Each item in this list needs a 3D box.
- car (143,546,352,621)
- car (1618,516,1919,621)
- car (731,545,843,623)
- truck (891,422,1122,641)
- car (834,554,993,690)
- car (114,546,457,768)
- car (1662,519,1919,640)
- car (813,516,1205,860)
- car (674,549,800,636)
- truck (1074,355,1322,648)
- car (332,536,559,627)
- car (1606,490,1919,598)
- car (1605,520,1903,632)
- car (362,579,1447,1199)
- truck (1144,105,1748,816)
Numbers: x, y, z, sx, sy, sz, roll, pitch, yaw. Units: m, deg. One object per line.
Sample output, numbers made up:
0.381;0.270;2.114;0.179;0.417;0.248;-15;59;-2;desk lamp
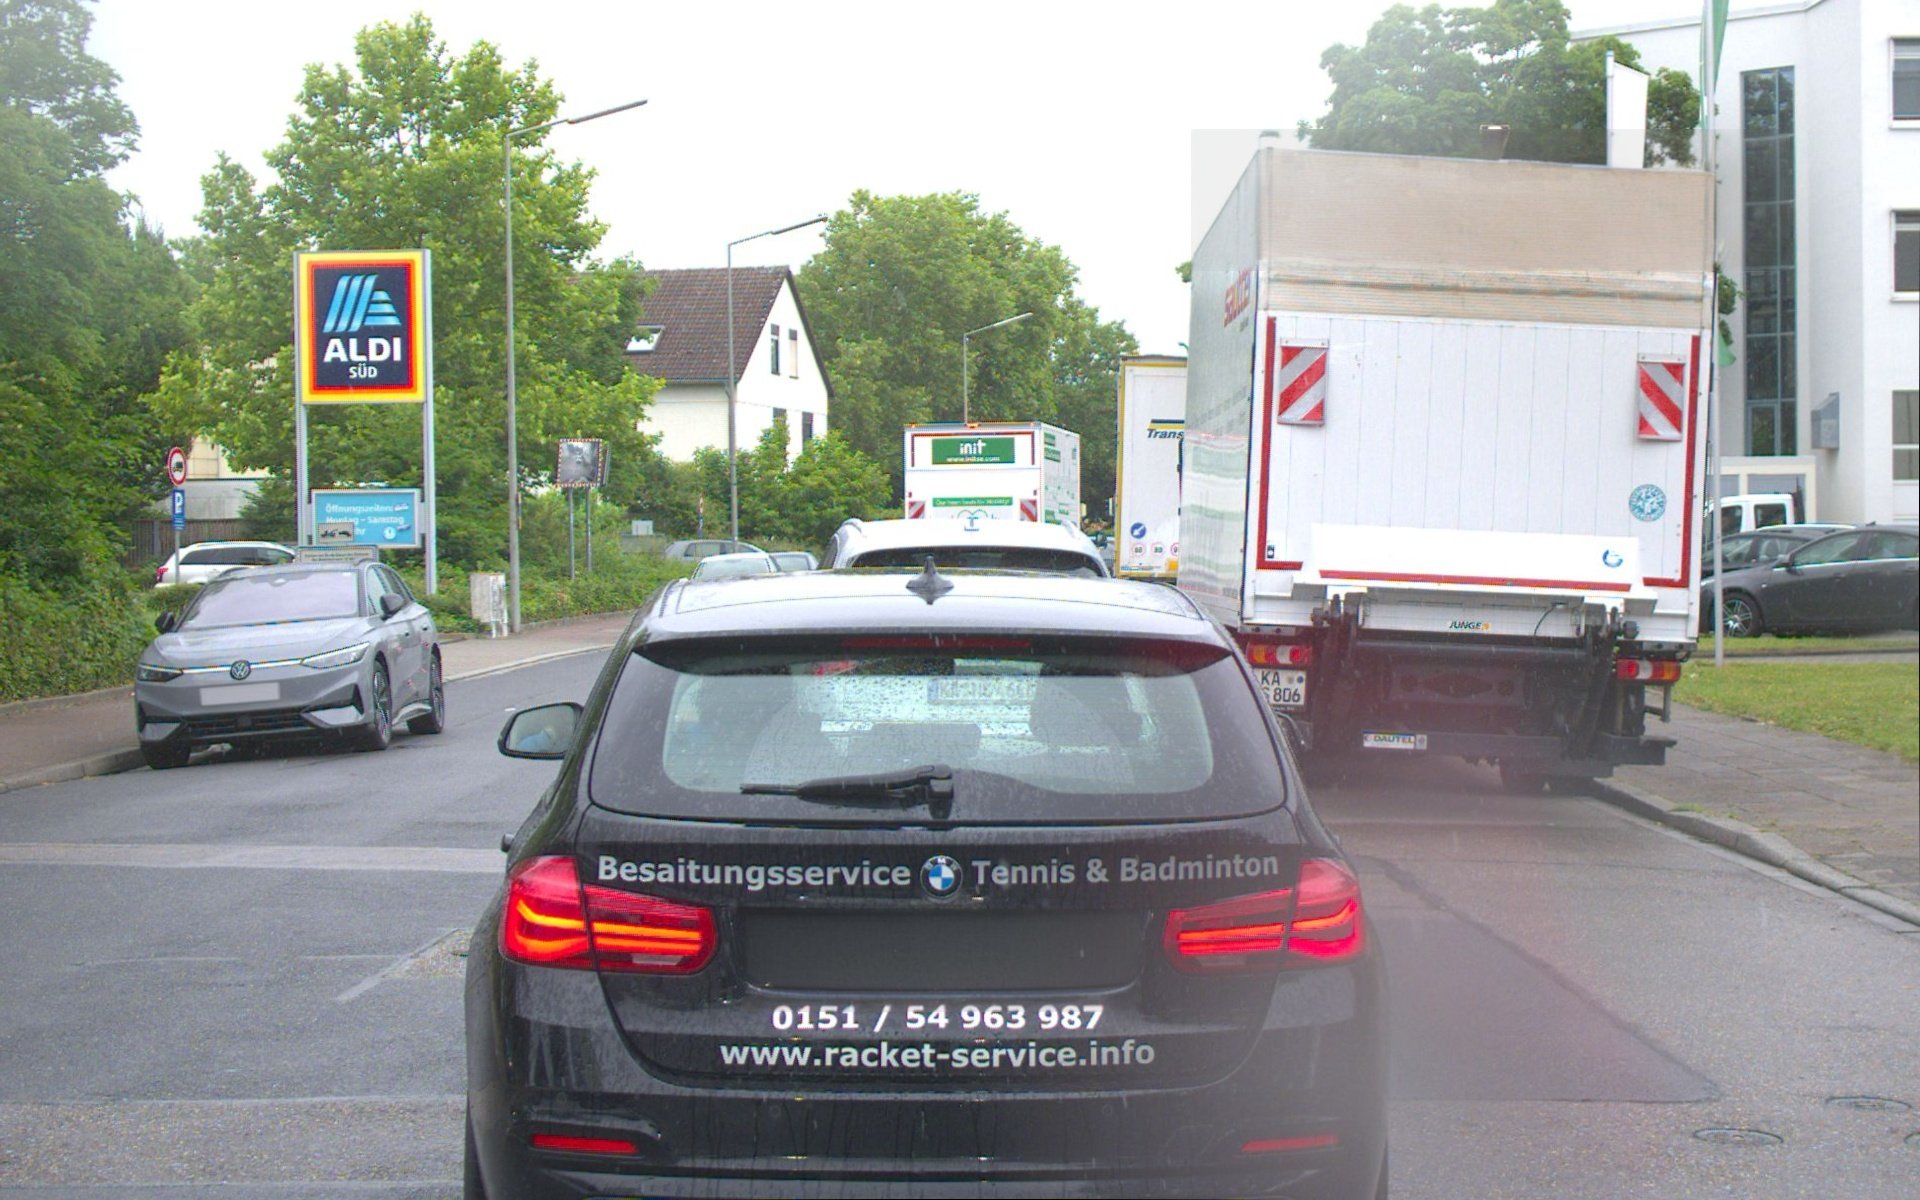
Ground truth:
-15.078;-0.358;72.889;3.987;1.535;1.911;0;1;1;car
12.221;-0.512;52.074;4.147;1.410;1.687;2;4;41;car
-3.351;-0.336;67.154;1.706;1.362;3.838;-3;1;4;car
0.880;-1.246;56.321;2.342;3.245;7.747;3;3;11;truck
-0.588;0.232;41.331;1.804;1.547;4.000;0;1;-2;car
-5.384;0.390;28.052;1.809;1.523;4.748;-4;1;-1;car
11.334;-0.271;43.044;4.671;1.463;1.787;0;1;38;car
0.170;0.382;17.863;1.804;1.581;4.000;0;1;-2;car
-3.914;-0.164;61.065;1.705;1.362;4.601;-3;1;2;car
3.123;-1.310;47.121;2.741;3.598;7.750;2;1;0;truck
-8.810;-0.334;58.994;3.570;1.455;1.712;1;1;2;car
15.909;-1.069;66.343;6.452;2.007;2.000;0;0;-4;car
11.432;-0.376;49.623;3.777;1.392;1.723;4;4;40;car
-0.148;0.665;7.732;1.804;1.390;4.000;0;1;-2;car
2.892;-0.849;23.392;2.741;3.776;9.299;2;1;1;truck
